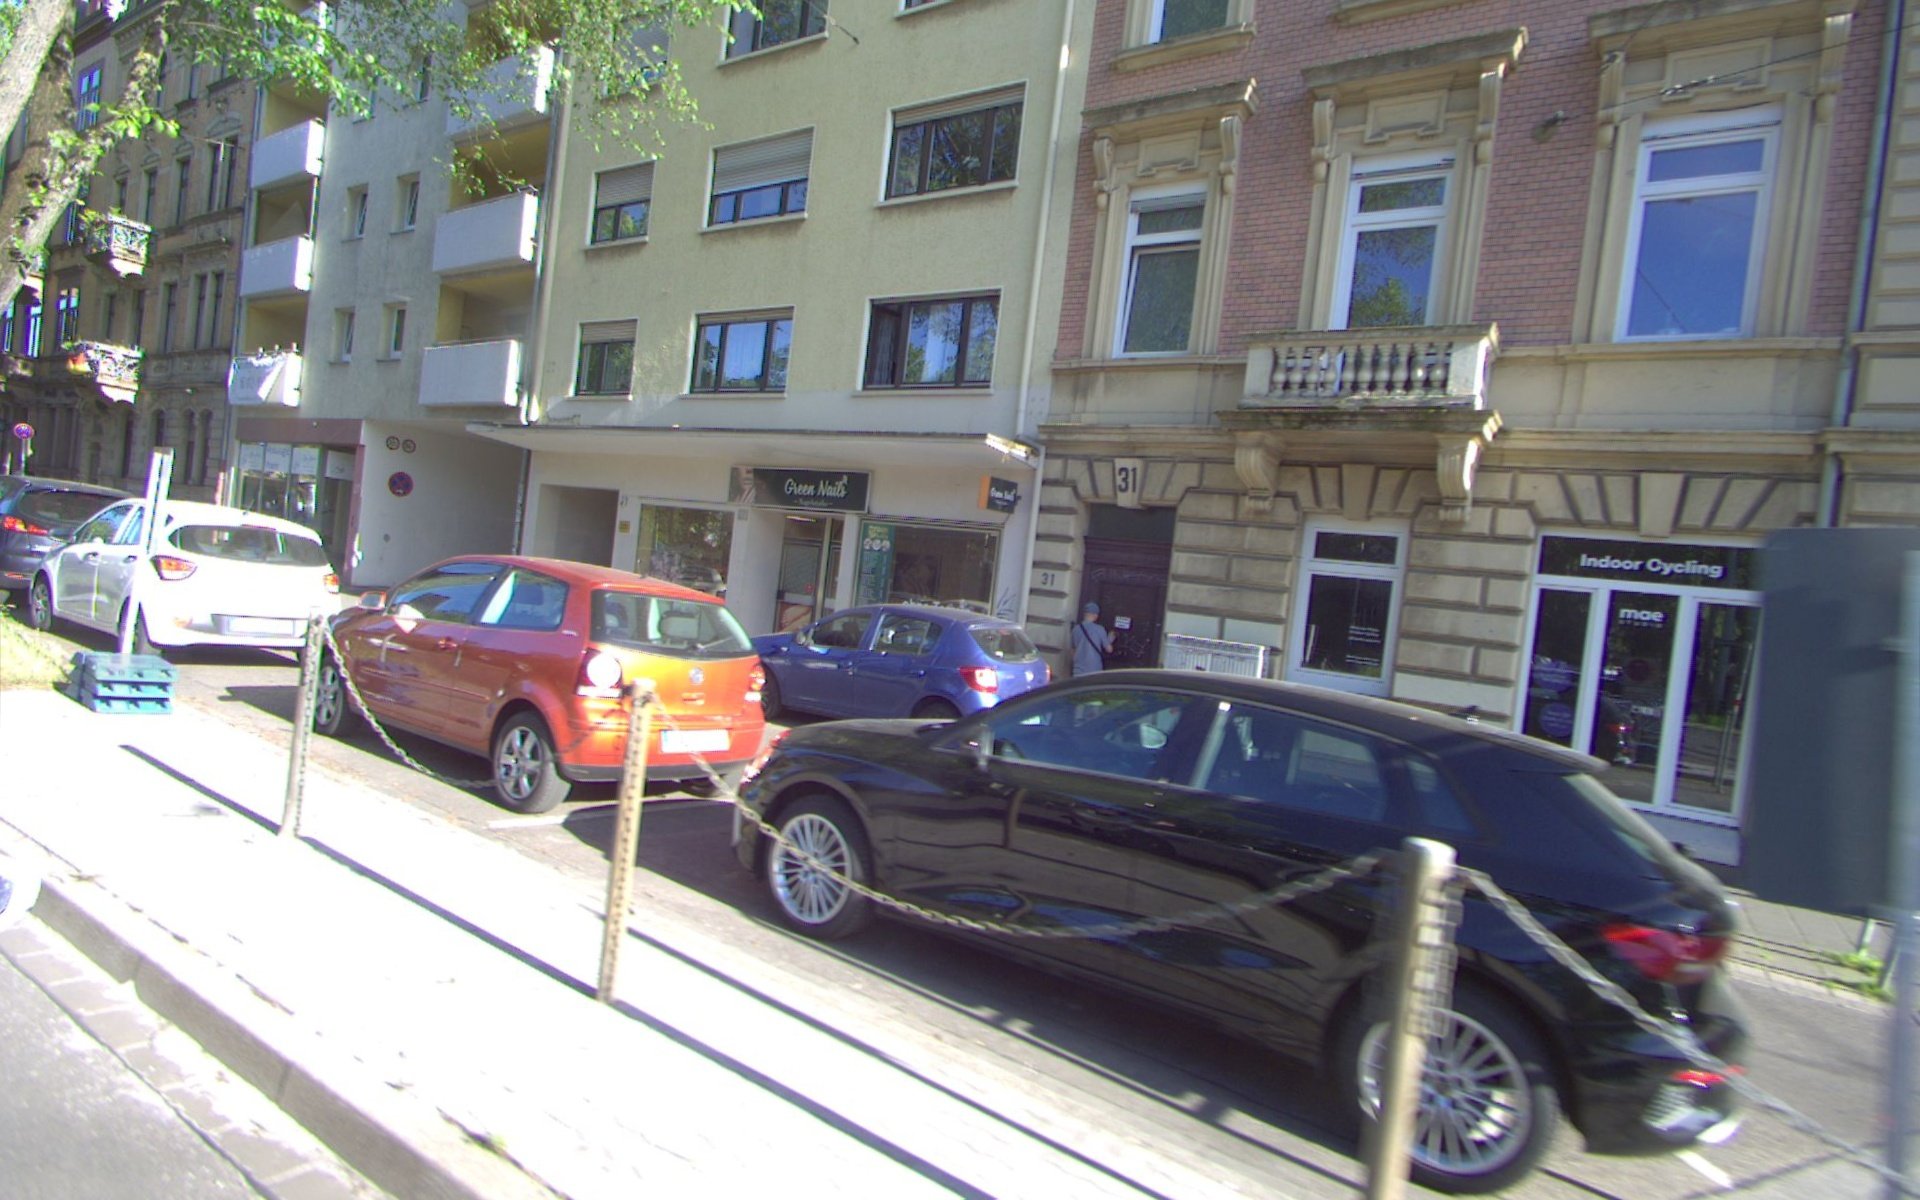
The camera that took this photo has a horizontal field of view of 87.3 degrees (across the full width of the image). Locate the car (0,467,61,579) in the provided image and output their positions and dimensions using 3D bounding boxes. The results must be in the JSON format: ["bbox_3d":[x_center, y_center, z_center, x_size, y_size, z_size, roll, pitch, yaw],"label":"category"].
[{"bbox_3d":[-14.906,-1.321,14.961,3.437,1.497,1.513,8,-1,37],"label":"car"}]

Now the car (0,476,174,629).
[{"bbox_3d":[-11.515,-0.703,12.561,3.727,1.503,1.563,8,-1,35],"label":"car"}]

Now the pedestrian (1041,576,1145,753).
[{"bbox_3d":[1.638,0.783,12.384,0.839,2.037,0.512,9,0,37],"label":"pedestrian"}]

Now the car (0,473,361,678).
[{"bbox_3d":[-7.984,-0.273,10.219,3.635,1.494,1.629,8,-1,31],"label":"car"}]

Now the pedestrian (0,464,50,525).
[{"bbox_3d":[-31.143,-3.504,33.473,0.704,1.862,1.000,8,0,35],"label":"pedestrian"}]

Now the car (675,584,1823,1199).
[{"bbox_3d":[0.876,0.973,4.442,4.101,1.438,1.699,8,-1,33],"label":"car"}]

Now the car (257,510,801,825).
[{"bbox_3d":[-3.188,0.358,7.189,3.841,1.451,1.591,8,-1,33],"label":"car"}]

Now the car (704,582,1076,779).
[{"bbox_3d":[-0.872,0.796,11.639,3.933,1.500,1.693,8,4,31],"label":"car"}]
